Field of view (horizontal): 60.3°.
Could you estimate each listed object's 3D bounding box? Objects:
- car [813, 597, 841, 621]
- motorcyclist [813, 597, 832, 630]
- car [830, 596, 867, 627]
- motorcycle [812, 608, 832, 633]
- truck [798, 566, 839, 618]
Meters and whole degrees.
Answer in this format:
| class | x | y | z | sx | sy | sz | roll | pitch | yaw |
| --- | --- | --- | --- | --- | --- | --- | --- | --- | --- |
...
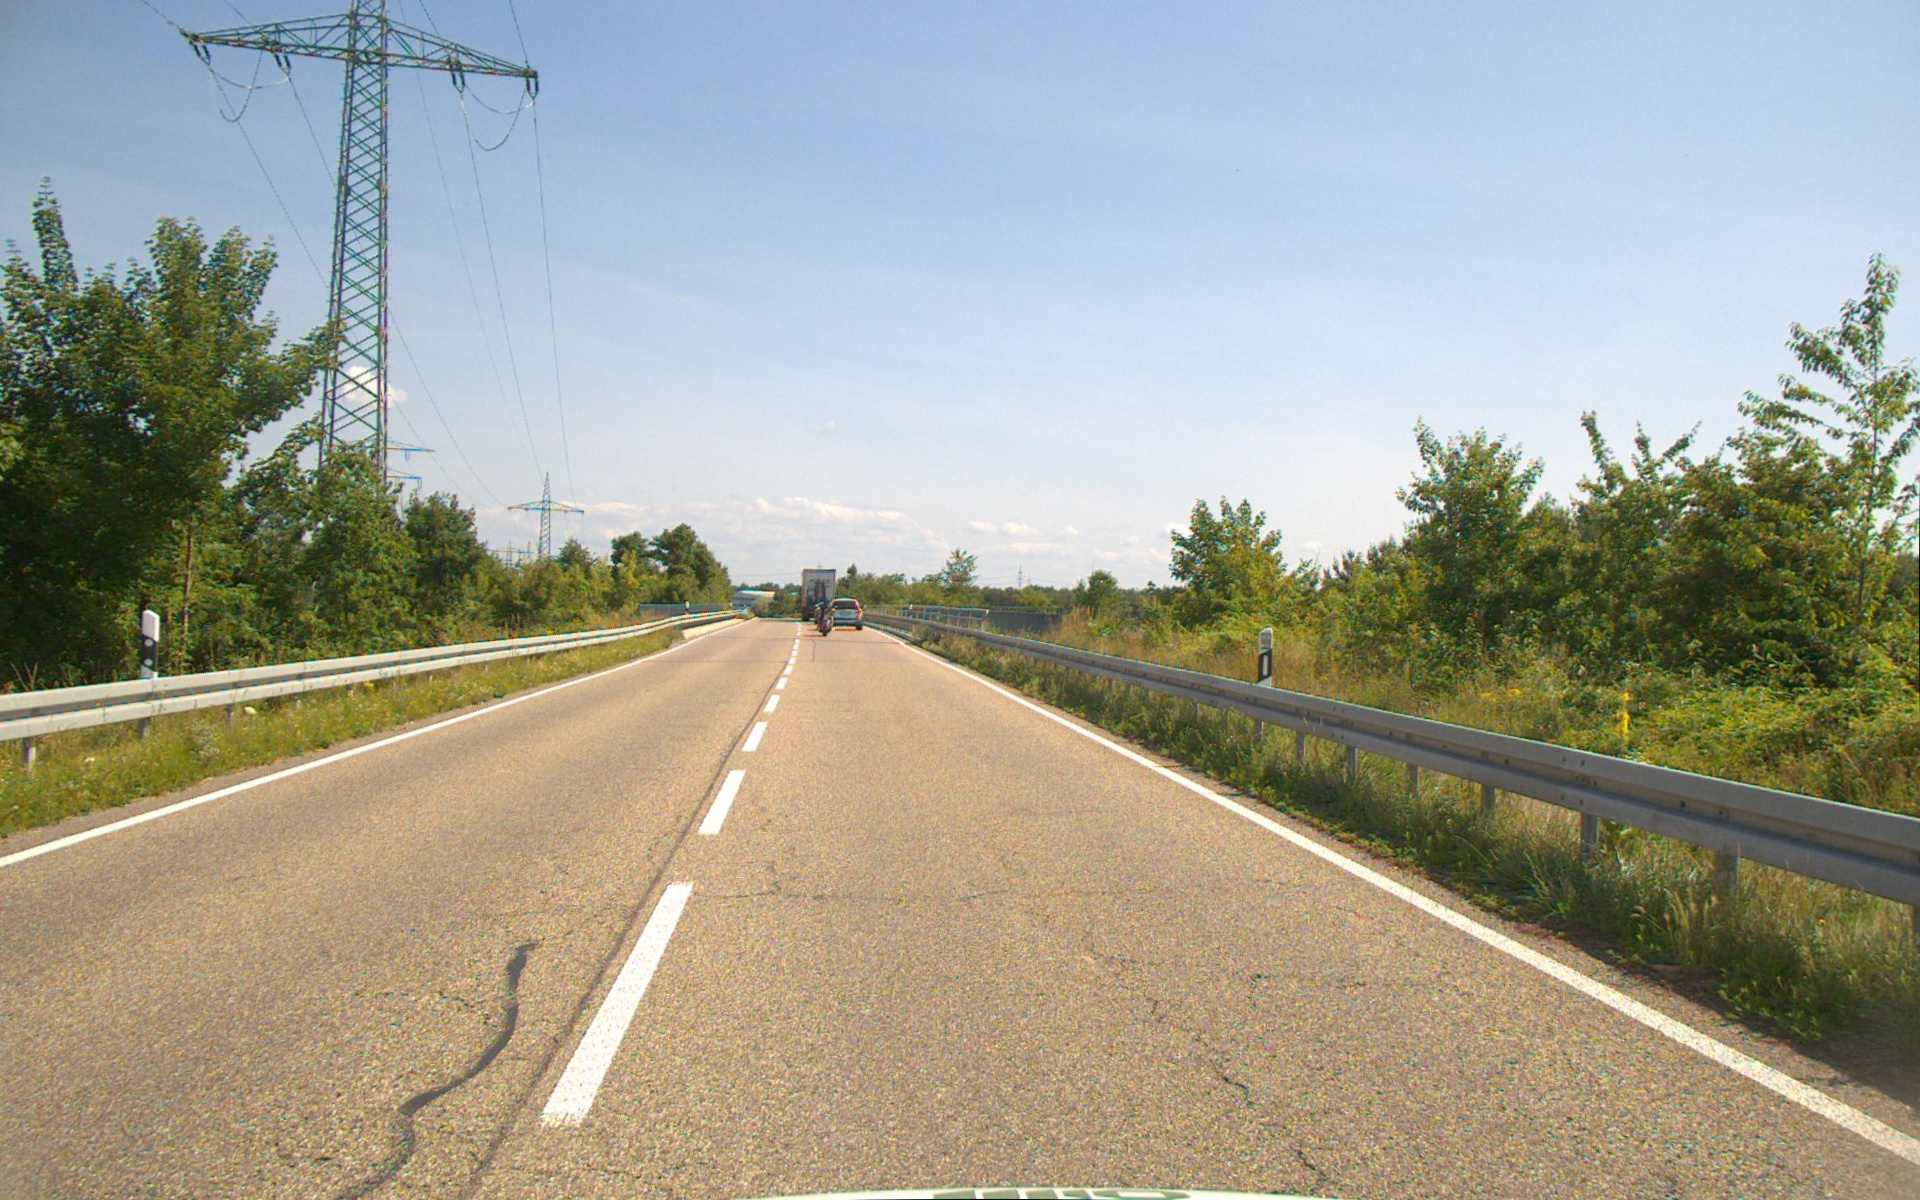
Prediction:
| class | x | y | z | sx | sy | sz | roll | pitch | yaw |
| --- | --- | --- | --- | --- | --- | --- | --- | --- | --- |
| car | -8.742 | 0.574 | 108.805 | 1.829 | 1.445 | 3.997 | 1 | 0 | -4 |
| motorcyclist | -5.674 | 0.565 | 68.222 | 0.765 | 1.349 | 0.812 | 1 | 0 | -4 |
| car | -5.714 | 0.574 | 84.183 | 1.790 | 1.477 | 3.996 | 1 | 0 | -5 |
| motorcycle | -5.685 | 0.834 | 68.201 | 0.765 | 0.992 | 2.359 | 1 | 0 | -4 |
| truck | -11.438 | -0.587 | 134.112 | 3.178 | 4.048 | 9.434 | 1 | 0 | -5 |
